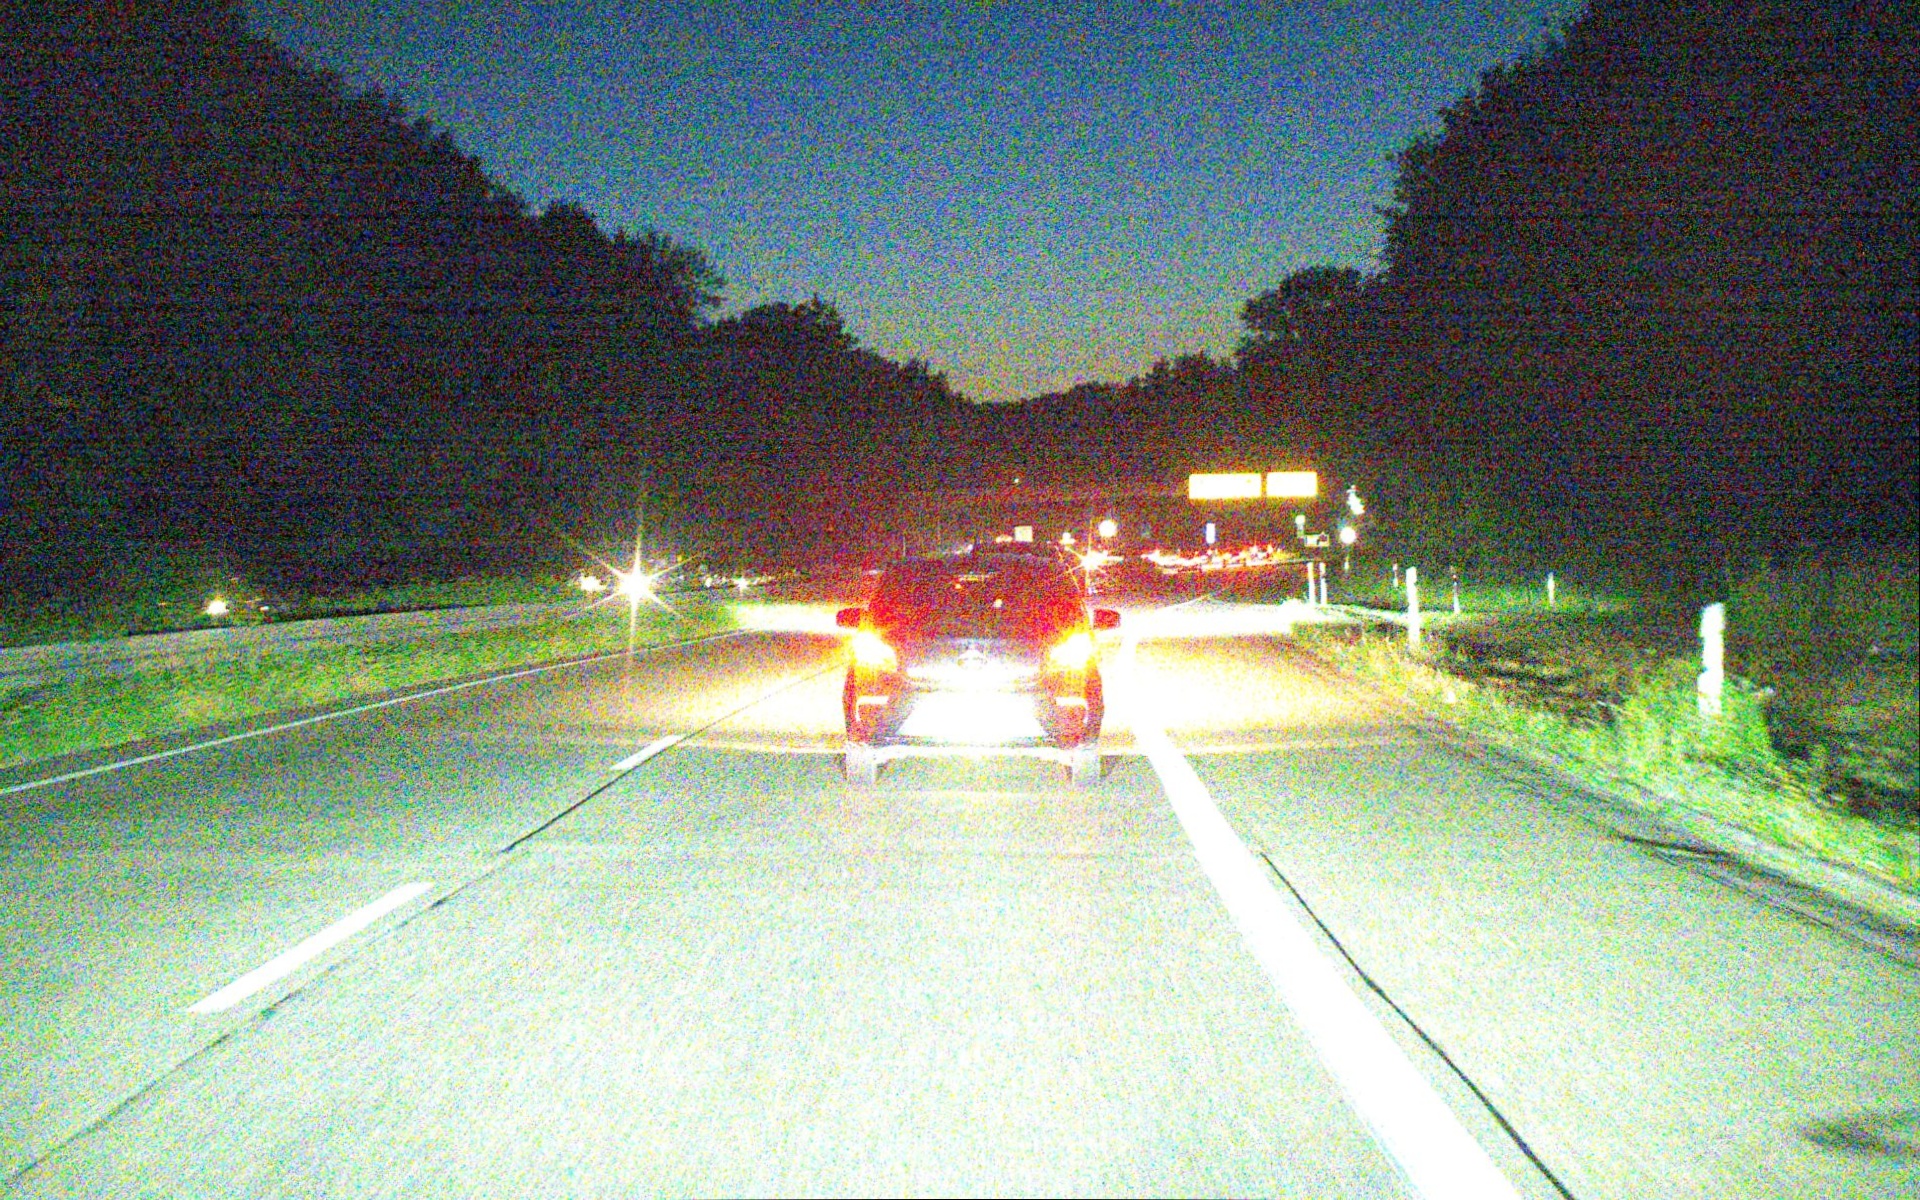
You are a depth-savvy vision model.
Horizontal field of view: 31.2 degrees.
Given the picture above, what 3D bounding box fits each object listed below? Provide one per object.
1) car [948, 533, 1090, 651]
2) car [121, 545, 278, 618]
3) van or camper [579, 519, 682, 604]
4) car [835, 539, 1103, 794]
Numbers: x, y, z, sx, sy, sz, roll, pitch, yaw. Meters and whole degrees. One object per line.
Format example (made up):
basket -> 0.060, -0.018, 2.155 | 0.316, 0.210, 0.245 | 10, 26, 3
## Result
car -> 0.938, -0.154, 52.501 | 1.907, 1.692, 4.000 | 0, 1, 5
car -> -16.501, -0.426, 74.805 | 1.822, 1.437, 4.474 | -2, 1, 8
van or camper -> -10.674, -1.270, 111.927 | 2.294, 2.608, 7.665 | -2, 1, 2
car -> 0.024, 0.363, 22.717 | 1.588, 1.503, 4.000 | 1, 1, -1
